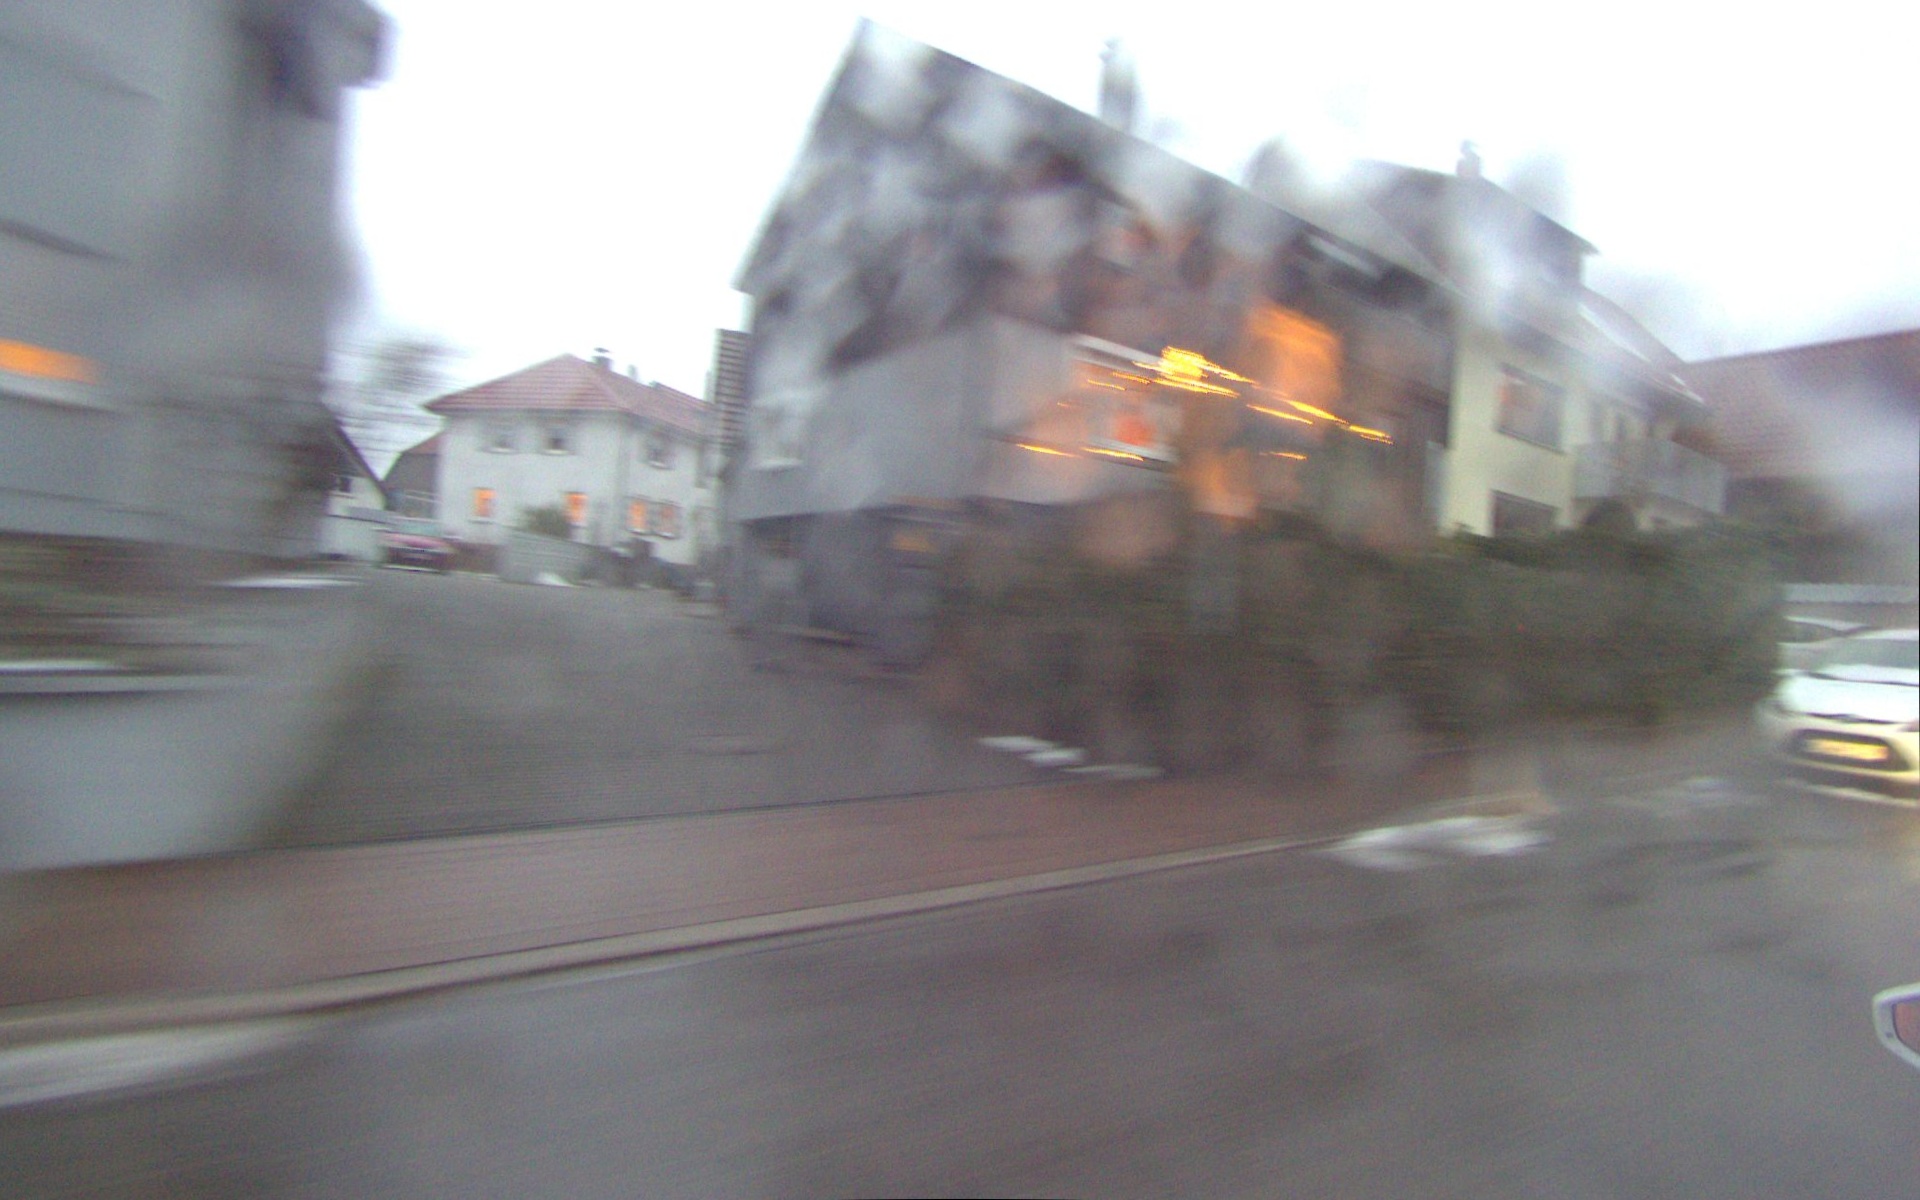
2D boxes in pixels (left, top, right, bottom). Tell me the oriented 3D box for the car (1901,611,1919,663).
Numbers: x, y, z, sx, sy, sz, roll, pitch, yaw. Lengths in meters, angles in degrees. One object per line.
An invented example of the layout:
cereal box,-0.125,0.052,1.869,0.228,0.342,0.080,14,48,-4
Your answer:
car,31.889,1.244,30.825,1.865,1.639,3.971,2,0,-27

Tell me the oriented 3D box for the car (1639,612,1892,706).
car,15.691,1.093,19.741,1.751,1.548,3.450,2,0,-27

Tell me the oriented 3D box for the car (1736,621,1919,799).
car,9.262,0.992,9.730,3.616,1.457,1.610,3,-1,-32

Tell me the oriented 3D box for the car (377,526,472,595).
car,-13.769,-1.045,25.721,1.687,1.515,3.961,3,2,-34

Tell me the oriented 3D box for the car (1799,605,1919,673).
car,26.261,1.094,27.973,1.975,1.770,3.971,2,0,-27

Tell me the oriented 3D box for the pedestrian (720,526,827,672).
pedestrian,-2.397,-0.014,12.884,0.979,1.755,0.811,3,4,-36
